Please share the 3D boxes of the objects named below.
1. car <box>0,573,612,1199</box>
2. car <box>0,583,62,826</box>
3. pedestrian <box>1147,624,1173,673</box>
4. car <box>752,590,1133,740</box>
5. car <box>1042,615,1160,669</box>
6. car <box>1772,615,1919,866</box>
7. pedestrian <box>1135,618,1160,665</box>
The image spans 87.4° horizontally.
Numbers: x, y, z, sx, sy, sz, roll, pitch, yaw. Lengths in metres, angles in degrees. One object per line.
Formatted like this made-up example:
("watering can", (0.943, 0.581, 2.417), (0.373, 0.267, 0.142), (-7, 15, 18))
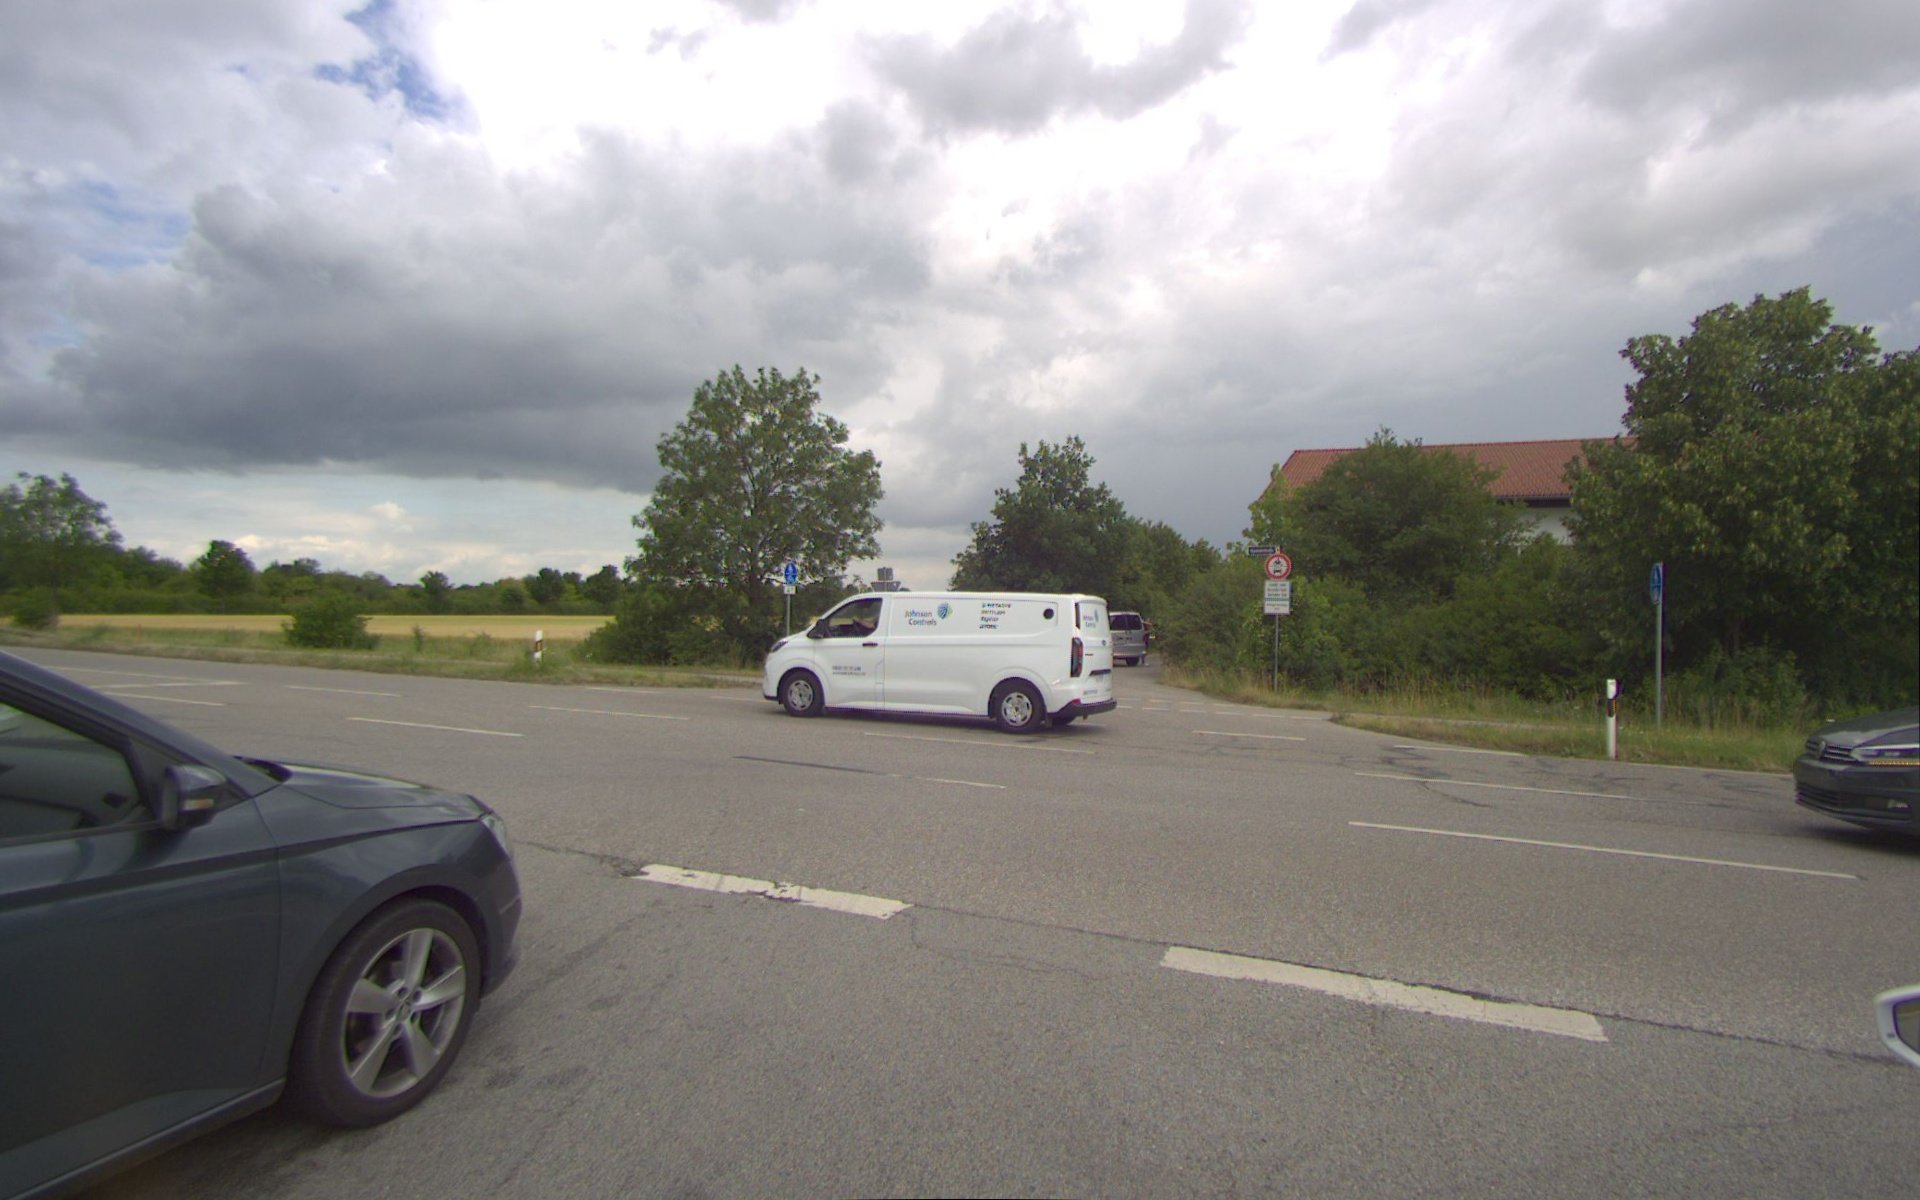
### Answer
("car", (-2.682, 0.656, 1.874), (1.684, 1.466, 4.118), (2, 0, 18))
("car", (-7.667, 0.562, 5.149), (4.266, 1.426, 1.804), (2, -2, -33))
("pedestrian", (7.233, 1.748, 36.340), (0.712, 1.746, 0.791), (1, -1, 28))
("car", (-0.279, 0.854, 15.004), (5.288, 1.911, 2.112), (1, -1, 24))
("car", (5.301, 1.526, 38.497), (2.084, 1.911, 5.070), (0, -1, -25))
("car", (8.460, 0.998, 6.861), (4.208, 1.680, 1.753), (1, -2, 24))
("pedestrian", (6.975, 1.541, 37.434), (0.691, 1.746, 0.731), (1, -1, 32))
